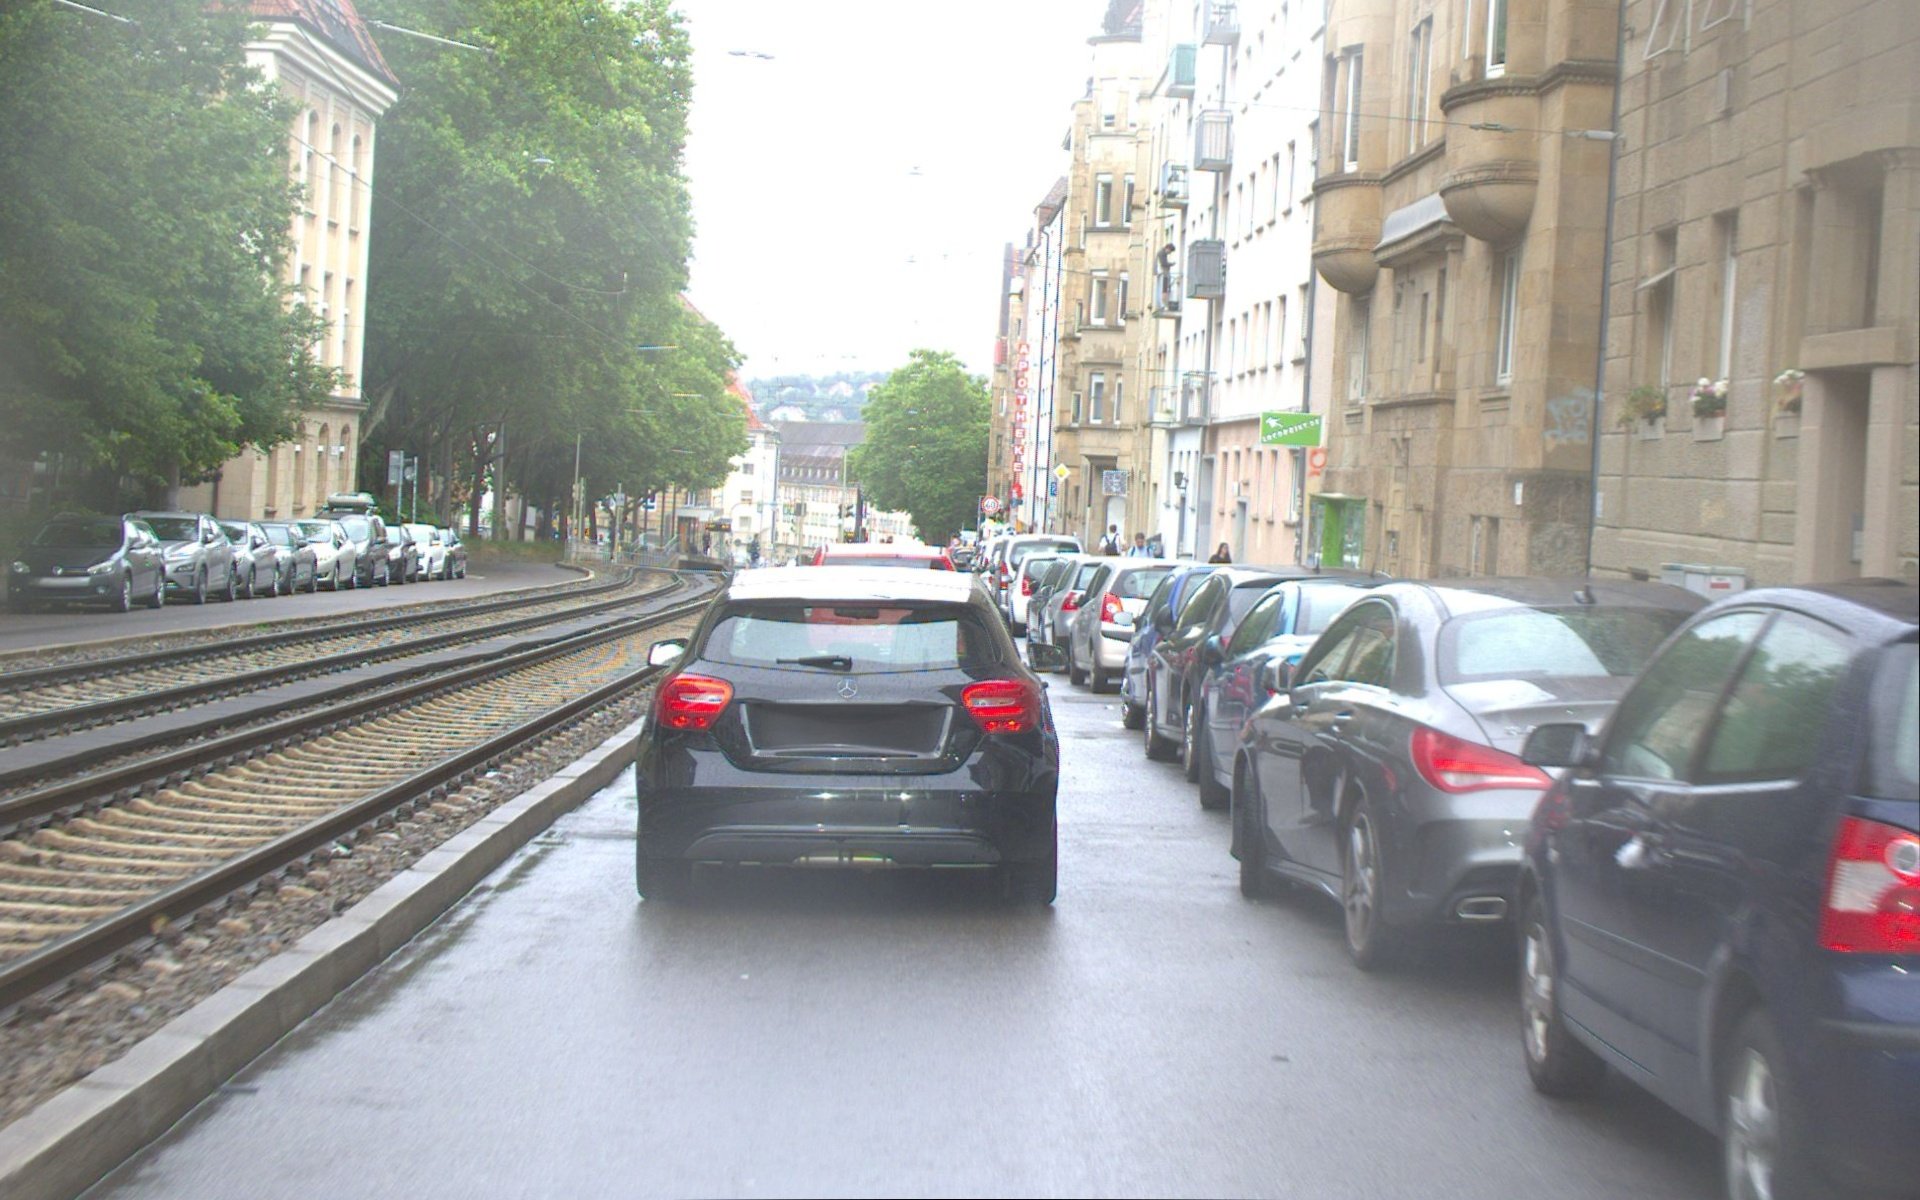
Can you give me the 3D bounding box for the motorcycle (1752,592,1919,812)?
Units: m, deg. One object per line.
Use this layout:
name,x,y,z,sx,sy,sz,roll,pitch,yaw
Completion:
motorcycle,5.524,0.586,20.888,0.705,1.194,2.746,2,1,-1

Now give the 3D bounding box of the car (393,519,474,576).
car,-14.143,-1.435,92.535,1.614,1.424,3.853,2,1,-1

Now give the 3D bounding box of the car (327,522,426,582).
car,-14.106,-1.173,83.270,1.675,1.409,4.010,1,1,0

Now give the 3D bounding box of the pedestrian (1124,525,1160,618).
pedestrian,3.477,-0.550,65.720,0.607,1.757,0.688,1,1,-2

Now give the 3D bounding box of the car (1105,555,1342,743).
car,2.148,0.365,28.774,1.543,1.410,3.447,2,1,-2

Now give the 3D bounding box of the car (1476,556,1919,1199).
car,2.391,0.636,8.317,1.671,1.439,3.790,1,1,0

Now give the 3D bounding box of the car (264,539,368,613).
car,-13.726,-0.536,73.399,1.539,1.500,4.155,0,1,-2

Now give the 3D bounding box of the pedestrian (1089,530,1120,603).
pedestrian,3.612,-0.838,86.191,0.746,1.827,1.039,0,1,1

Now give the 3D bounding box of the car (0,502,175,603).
car,-13.427,-0.743,52.899,1.849,1.459,4.551,0,1,-3

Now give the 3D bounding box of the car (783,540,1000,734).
car,-0.609,0.279,31.272,1.785,1.575,4.000,2,1,-1

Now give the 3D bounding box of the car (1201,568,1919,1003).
car,2.153,0.600,13.637,1.754,1.382,4.486,1,1,-4

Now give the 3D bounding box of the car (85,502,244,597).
car,-13.459,-0.870,58.370,1.754,1.531,4.543,0,1,-2

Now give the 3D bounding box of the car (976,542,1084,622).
car,1.372,-0.389,69.587,1.871,1.450,4.903,2,1,-2

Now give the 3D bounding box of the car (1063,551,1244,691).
car,2.103,0.199,38.197,1.590,1.429,3.685,2,1,-3

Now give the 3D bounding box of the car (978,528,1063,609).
car,1.390,-0.759,79.538,1.828,1.744,4.467,2,1,1

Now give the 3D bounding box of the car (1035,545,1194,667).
car,1.920,0.043,43.673,1.667,1.429,3.957,1,1,-2

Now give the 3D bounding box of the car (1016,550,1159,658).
car,1.781,0.024,49.227,1.669,1.405,4.312,2,1,-2

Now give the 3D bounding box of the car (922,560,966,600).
car,-0.690,-0.854,145.923,1.827,1.612,3.864,1,1,-1

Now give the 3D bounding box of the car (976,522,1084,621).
car,1.281,-0.558,64.607,1.790,1.759,4.212,1,1,-1

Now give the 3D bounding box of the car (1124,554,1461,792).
car,2.249,0.447,24.302,1.787,1.457,4.084,2,1,-2

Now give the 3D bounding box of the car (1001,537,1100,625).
car,1.560,-0.354,60.143,1.570,1.457,3.600,2,1,0

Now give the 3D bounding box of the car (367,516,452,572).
car,-14.108,-1.442,88.227,1.500,1.386,3.987,1,1,0

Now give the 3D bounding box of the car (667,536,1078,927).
car,-0.388,0.493,15.511,1.580,1.499,3.575,2,1,-1

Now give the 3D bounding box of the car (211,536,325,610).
car,-13.604,-0.556,67.760,1.539,1.409,3.953,0,1,-2

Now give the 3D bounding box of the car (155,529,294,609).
car,-13.456,-0.584,63.106,1.754,1.409,4.154,0,1,-2

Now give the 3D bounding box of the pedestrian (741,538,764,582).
pedestrian,-7.833,-1.519,129.965,0.806,1.628,0.892,1,1,0

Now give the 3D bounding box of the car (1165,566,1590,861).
car,2.228,0.556,19.359,1.707,1.393,4.019,2,1,-2
